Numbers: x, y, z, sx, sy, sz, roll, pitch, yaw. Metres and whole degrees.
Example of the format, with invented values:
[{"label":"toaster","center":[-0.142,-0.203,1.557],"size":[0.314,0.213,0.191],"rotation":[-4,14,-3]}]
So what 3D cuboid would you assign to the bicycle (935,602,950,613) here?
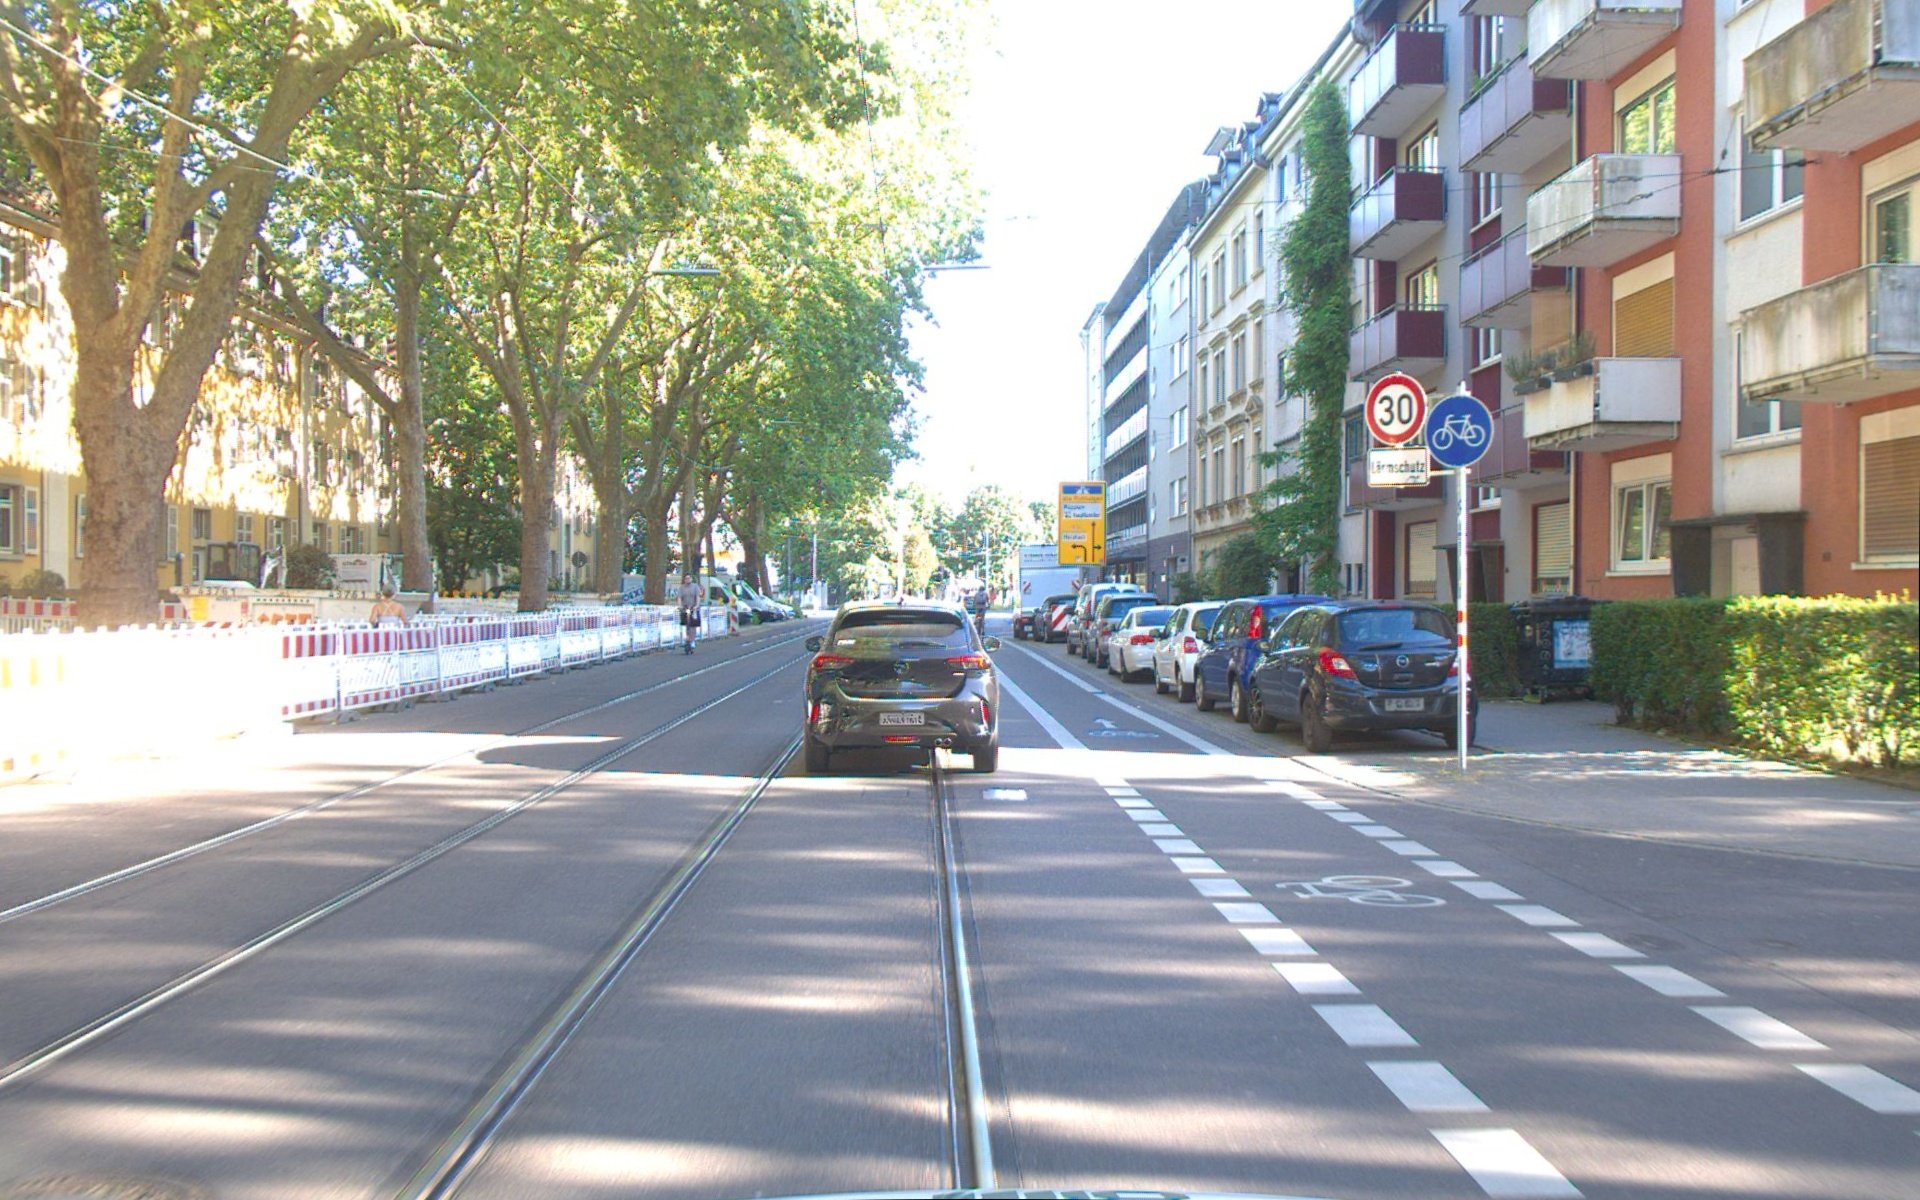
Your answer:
[{"label":"bicycle","center":[-1.542,0.663,149.379],"size":[0.771,1.009,2.245],"rotation":[1,0,15]}]

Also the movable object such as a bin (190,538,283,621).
[{"label":"movable object such as a bin","center":[-17.231,-0.476,39.470],"size":[1.306,1.901,2.007],"rotation":[1,0,-1]}]

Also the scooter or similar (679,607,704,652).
[{"label":"scooter or similar","center":[-6.760,0.728,41.610],"size":[0.399,1.102,1.338],"rotation":[1,0,-1]}]

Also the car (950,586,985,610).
[{"label":"car","center":[0.535,-0.161,122.207],"size":[1.956,1.725,4.732],"rotation":[-2,0,-7]}]

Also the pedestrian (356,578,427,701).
[{"label":"pedestrian","center":[-8.053,0.551,23.460],"size":[0.702,1.698,0.778],"rotation":[1,0,-1]}]

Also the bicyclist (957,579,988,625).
[{"label":"bicyclist","center":[0.462,0.070,60.712],"size":[1.067,1.676,1.401],"rotation":[1,0,1]}]

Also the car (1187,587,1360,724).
[{"label":"car","center":[4.046,0.674,21.866],"size":[1.495,1.618,3.751],"rotation":[1,0,-1]}]

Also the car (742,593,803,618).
[{"label":"car","center":[-13.040,0.377,115.137],"size":[4.086,1.700,1.963],"rotation":[0,0,-5]}]

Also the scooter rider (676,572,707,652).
[{"label":"scooter rider","center":[-6.743,0.303,41.613],"size":[0.636,1.991,0.624],"rotation":[1,-1,-1]}]

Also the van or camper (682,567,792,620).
[{"label":"van or camper","center":[-11.966,-0.320,89.057],"size":[5.607,2.690,2.269],"rotation":[1,0,-1]}]

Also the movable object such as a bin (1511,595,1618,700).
[{"label":"movable object such as a bin","center":[8.075,0.630,22.127],"size":[1.129,1.350,0.775],"rotation":[1,0,-1]}]

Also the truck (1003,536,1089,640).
[{"label":"truck","center":[2.991,-0.415,59.105],"size":[2.487,3.396,7.193],"rotation":[-2,0,-1]}]

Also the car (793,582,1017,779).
[{"label":"car","center":[-0.489,0.624,15.039],"size":[1.745,1.522,3.999],"rotation":[1,0,-2]}]

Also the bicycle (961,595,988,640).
[{"label":"bicycle","center":[0.551,0.632,60.771],"size":[0.897,1.588,3.405],"rotation":[1,0,1]}]

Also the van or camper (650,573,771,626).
[{"label":"van or camper","center":[-11.979,-0.023,79.706],"size":[5.387,2.421,2.270],"rotation":[1,0,2]}]

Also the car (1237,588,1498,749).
[{"label":"car","center":[4.202,0.637,17.681],"size":[1.698,1.487,3.915],"rotation":[-2,0,-2]}]

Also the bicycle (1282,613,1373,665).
[{"label":"bicycle","center":[7.980,0.845,35.931],"size":[1.854,1.047,0.476],"rotation":[-2,0,4]}]

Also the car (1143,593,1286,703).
[{"label":"car","center":[3.915,0.698,25.967],"size":[1.559,1.553,3.834],"rotation":[-2,0,-1]}]

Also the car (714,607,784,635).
[{"label":"car","center":[-12.588,1.236,98.734],"size":[3.905,1.541,1.649],"rotation":[1,0,0]}]

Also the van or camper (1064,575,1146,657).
[{"label":"van or camper","center":[3.603,0.368,41.703],"size":[1.635,1.915,4.210],"rotation":[-1,0,-1]}]

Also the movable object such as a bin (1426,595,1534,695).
[{"label":"movable object such as a bin","center":[7.323,0.616,23.374],"size":[0.947,1.350,1.721],"rotation":[1,0,-1]}]

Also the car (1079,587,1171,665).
[{"label":"car","center":[3.623,0.534,36.746],"size":[1.626,1.608,3.588],"rotation":[-1,0,-1]}]

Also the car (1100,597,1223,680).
[{"label":"car","center":[3.813,0.686,31.992],"size":[1.626,1.424,4.738],"rotation":[-2,0,-2]}]

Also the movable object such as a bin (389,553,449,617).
[{"label":"movable object such as a bin","center":[-14.516,-0.393,44.408],"size":[1.075,1.674,1.559],"rotation":[1,0,-1]}]

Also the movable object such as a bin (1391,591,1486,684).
[{"label":"movable object such as a bin","center":[7.264,0.551,25.187],"size":[0.905,1.350,1.681],"rotation":[1,0,-1]}]

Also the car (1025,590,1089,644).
[{"label":"car","center":[3.076,0.528,52.901],"size":[1.695,1.584,4.151],"rotation":[-2,0,-1]}]

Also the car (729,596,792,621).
[{"label":"car","center":[-13.102,0.555,108.580],"size":[3.905,1.541,1.649],"rotation":[1,0,0]}]
